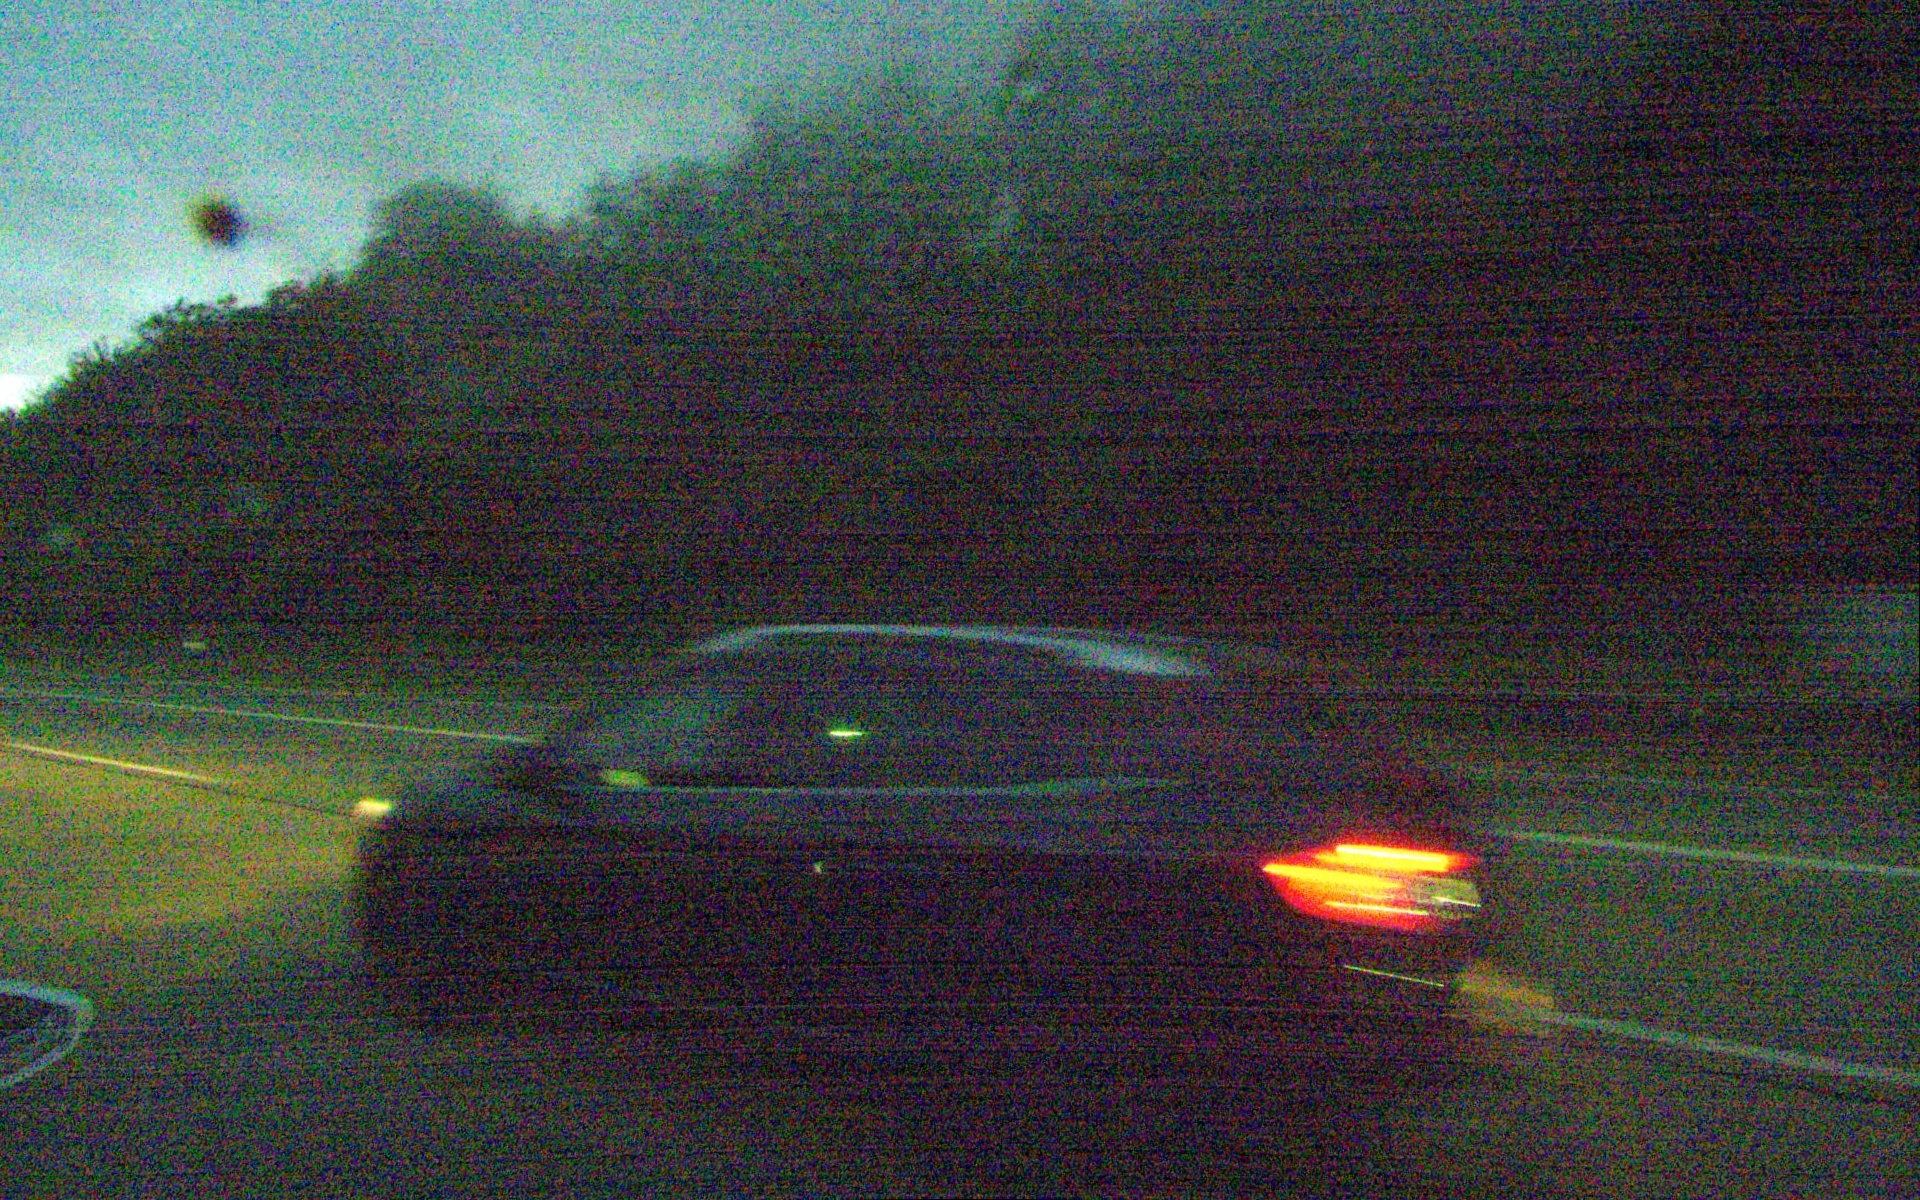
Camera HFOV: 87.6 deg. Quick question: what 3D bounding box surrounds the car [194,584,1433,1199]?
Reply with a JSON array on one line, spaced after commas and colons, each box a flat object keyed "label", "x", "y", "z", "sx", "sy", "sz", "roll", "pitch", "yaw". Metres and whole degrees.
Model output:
[{"label": "car", "x": -0.890, "y": 0.784, "z": 3.956, "sx": 4.876, "sy": 1.509, "sz": 1.689, "roll": -1, "pitch": -2, "yaw": 30}]
